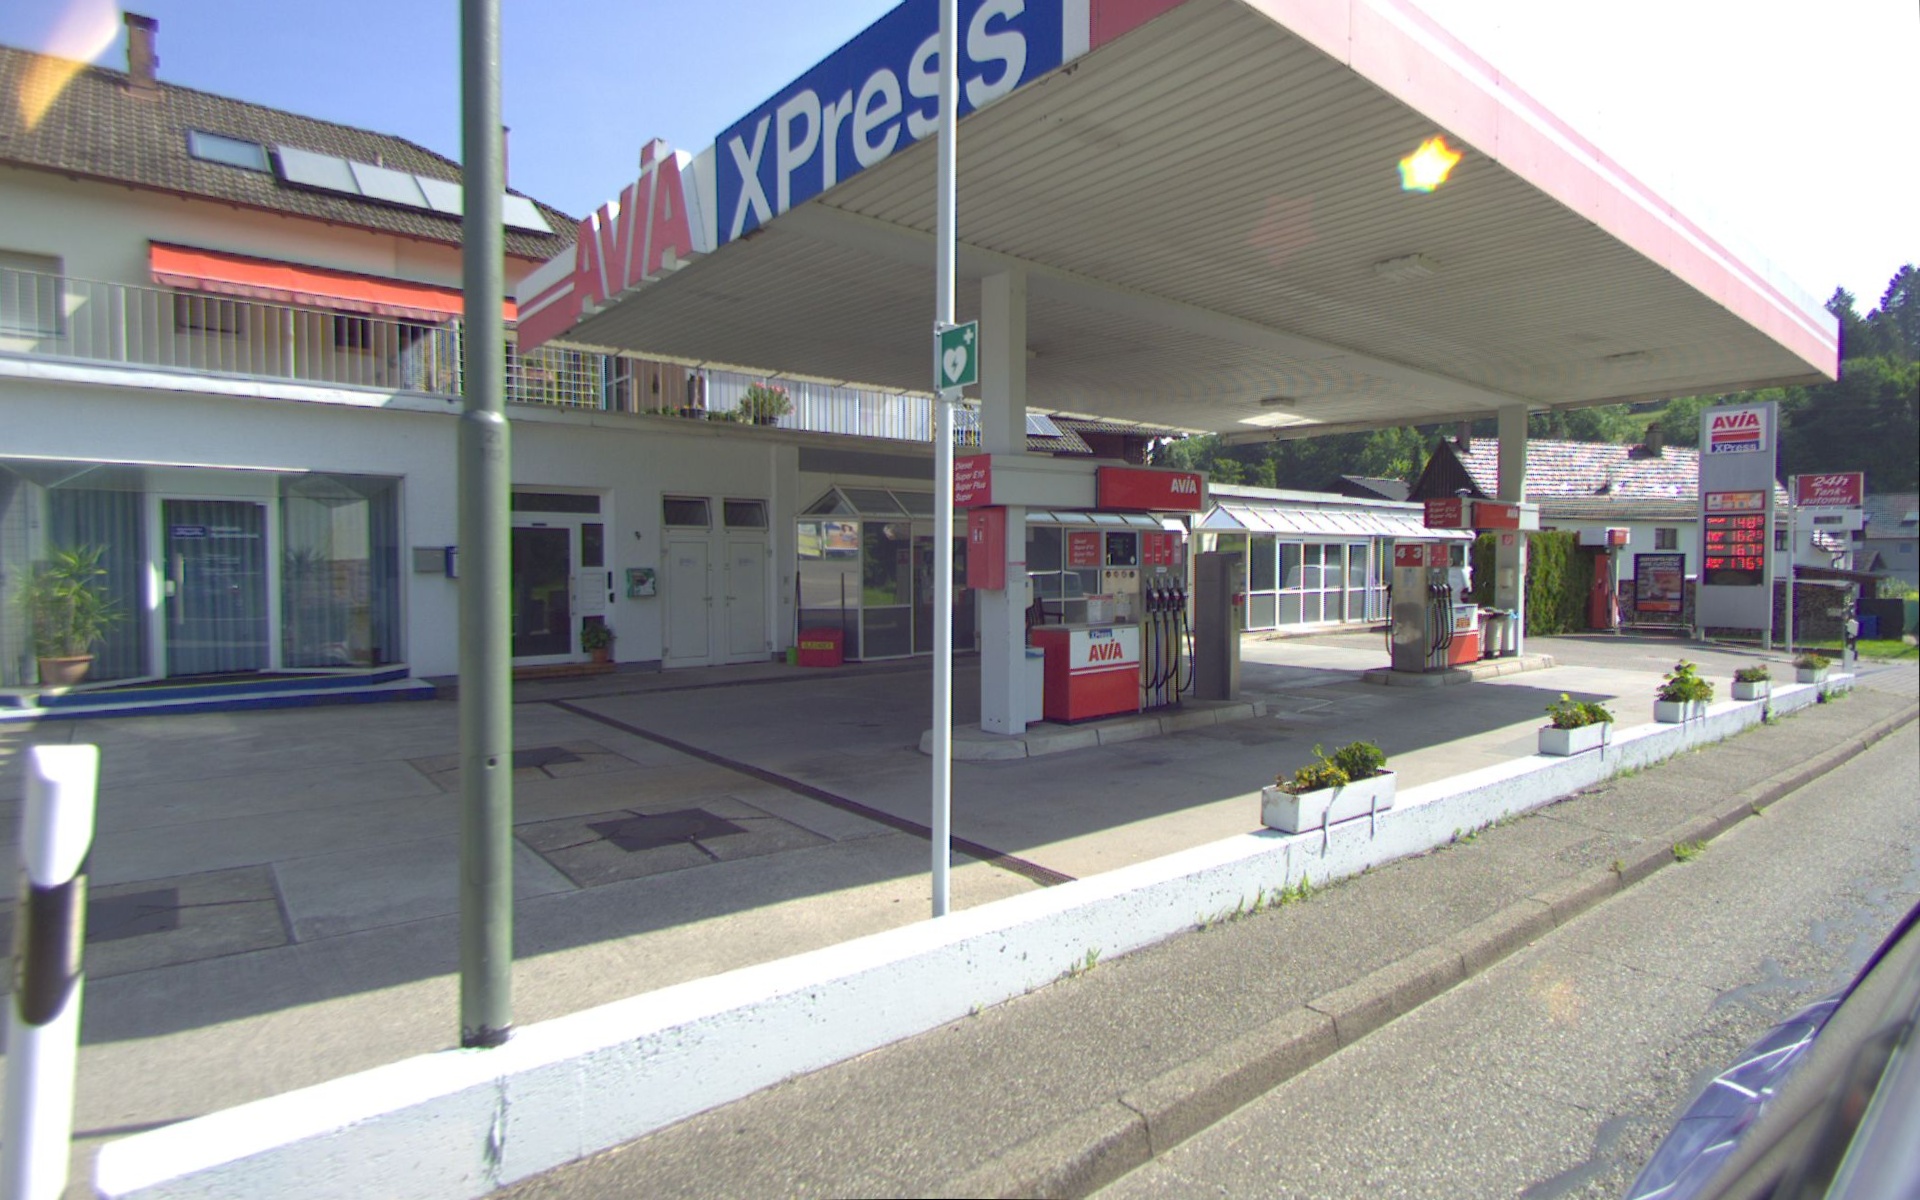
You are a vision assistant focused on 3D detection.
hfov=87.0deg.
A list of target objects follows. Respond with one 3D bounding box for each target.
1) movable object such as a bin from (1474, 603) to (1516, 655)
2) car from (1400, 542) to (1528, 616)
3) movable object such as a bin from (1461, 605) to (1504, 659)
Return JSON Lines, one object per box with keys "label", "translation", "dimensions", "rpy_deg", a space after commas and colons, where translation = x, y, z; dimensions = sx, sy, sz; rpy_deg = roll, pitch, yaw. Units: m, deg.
{"label": "movable object such as a bin", "translation": [8.979, 0.477, 16.974], "dimensions": [0.519, 0.856, 0.480], "rpy_deg": [0, 0, -43]}
{"label": "car", "translation": [13.490, -0.558, 26.992], "dimensions": [3.931, 1.838, 1.682], "rpy_deg": [-2, 0, -42]}
{"label": "movable object such as a bin", "translation": [8.582, 0.514, 16.618], "dimensions": [0.488, 0.856, 0.480], "rpy_deg": [0, 0, -43]}
